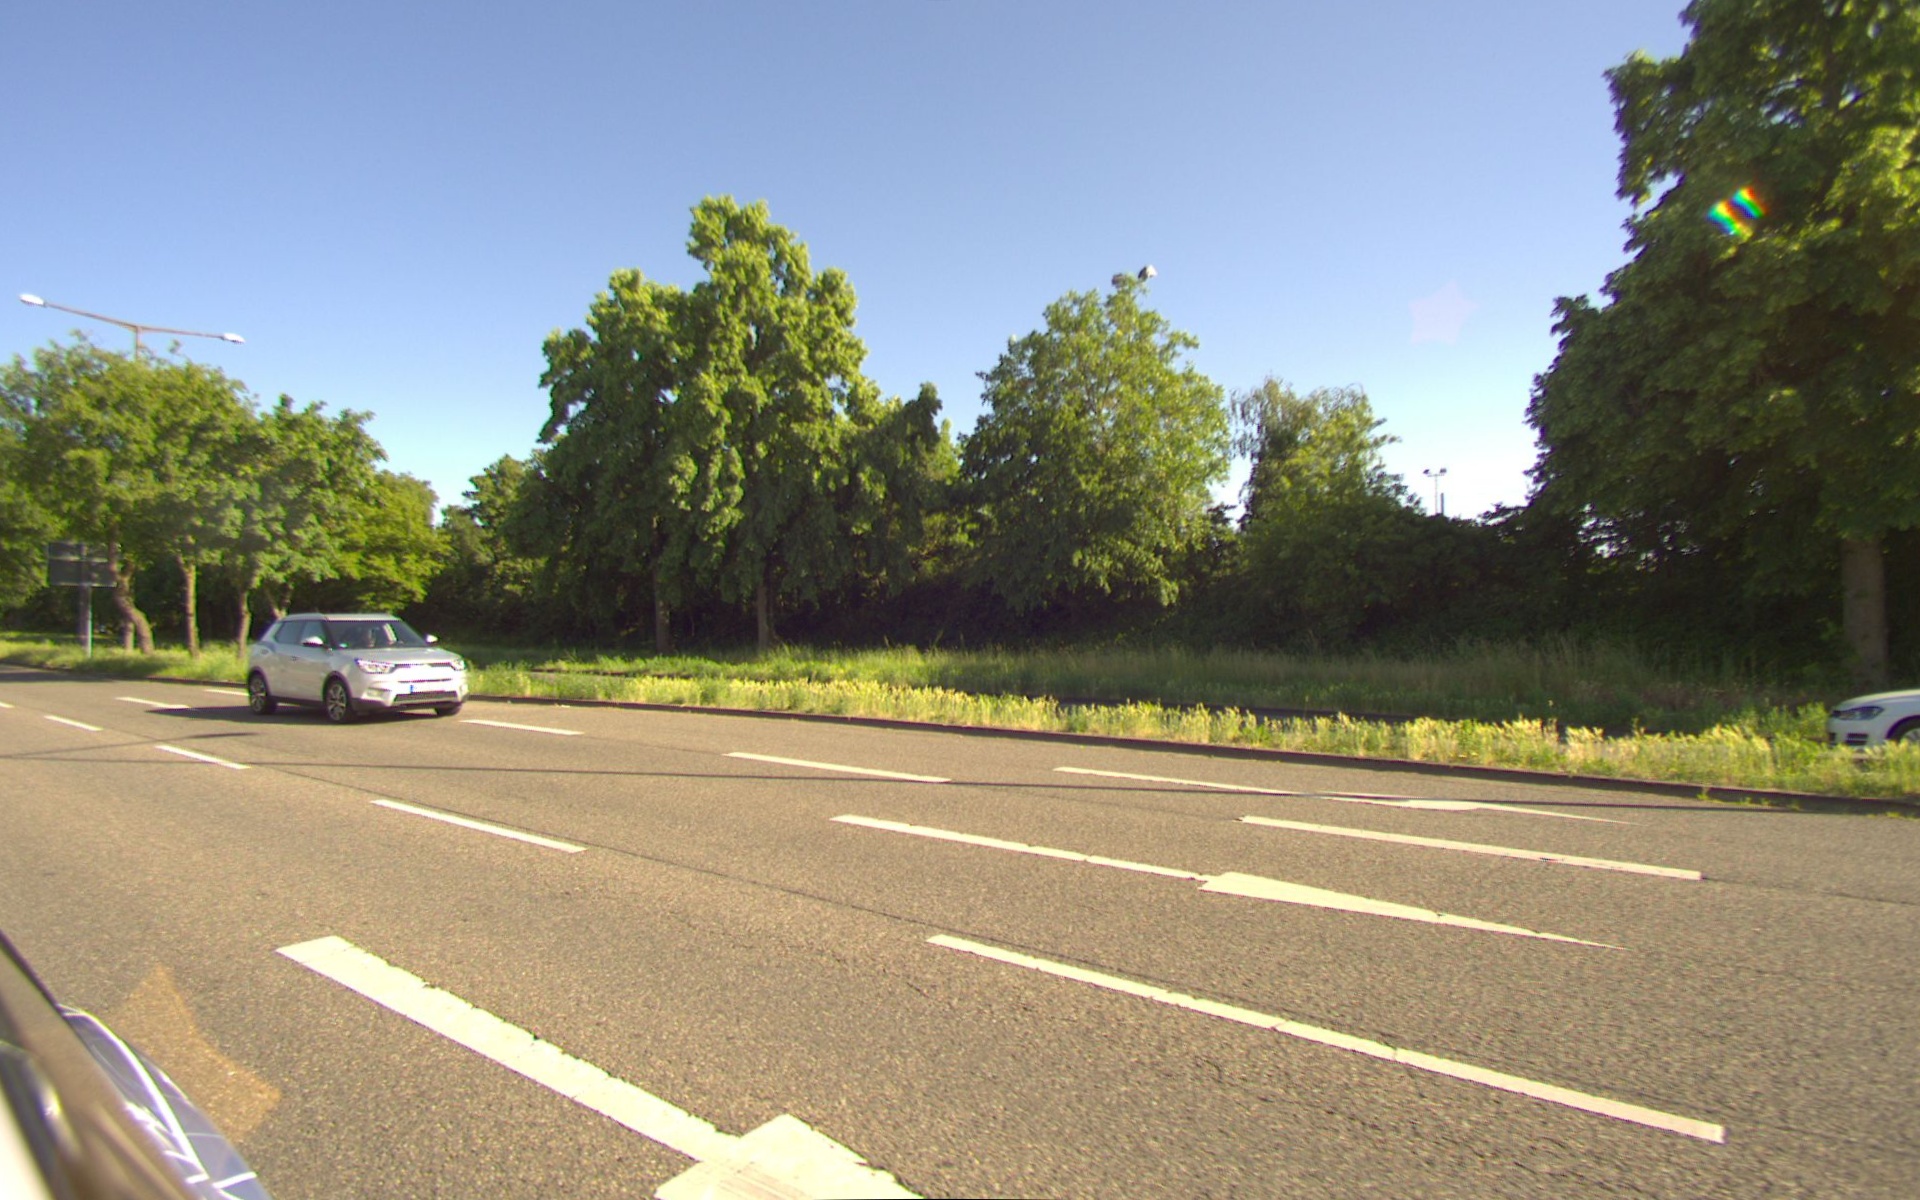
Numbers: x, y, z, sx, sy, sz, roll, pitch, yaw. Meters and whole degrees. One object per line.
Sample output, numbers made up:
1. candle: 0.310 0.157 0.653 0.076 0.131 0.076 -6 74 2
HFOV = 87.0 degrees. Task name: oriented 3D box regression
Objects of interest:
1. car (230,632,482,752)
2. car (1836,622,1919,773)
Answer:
1. car: -9.420 1.321 15.709 4.095 1.622 1.770 -1 -2 34
2. car: 13.033 1.157 11.618 4.402 1.716 1.893 0 0 39
